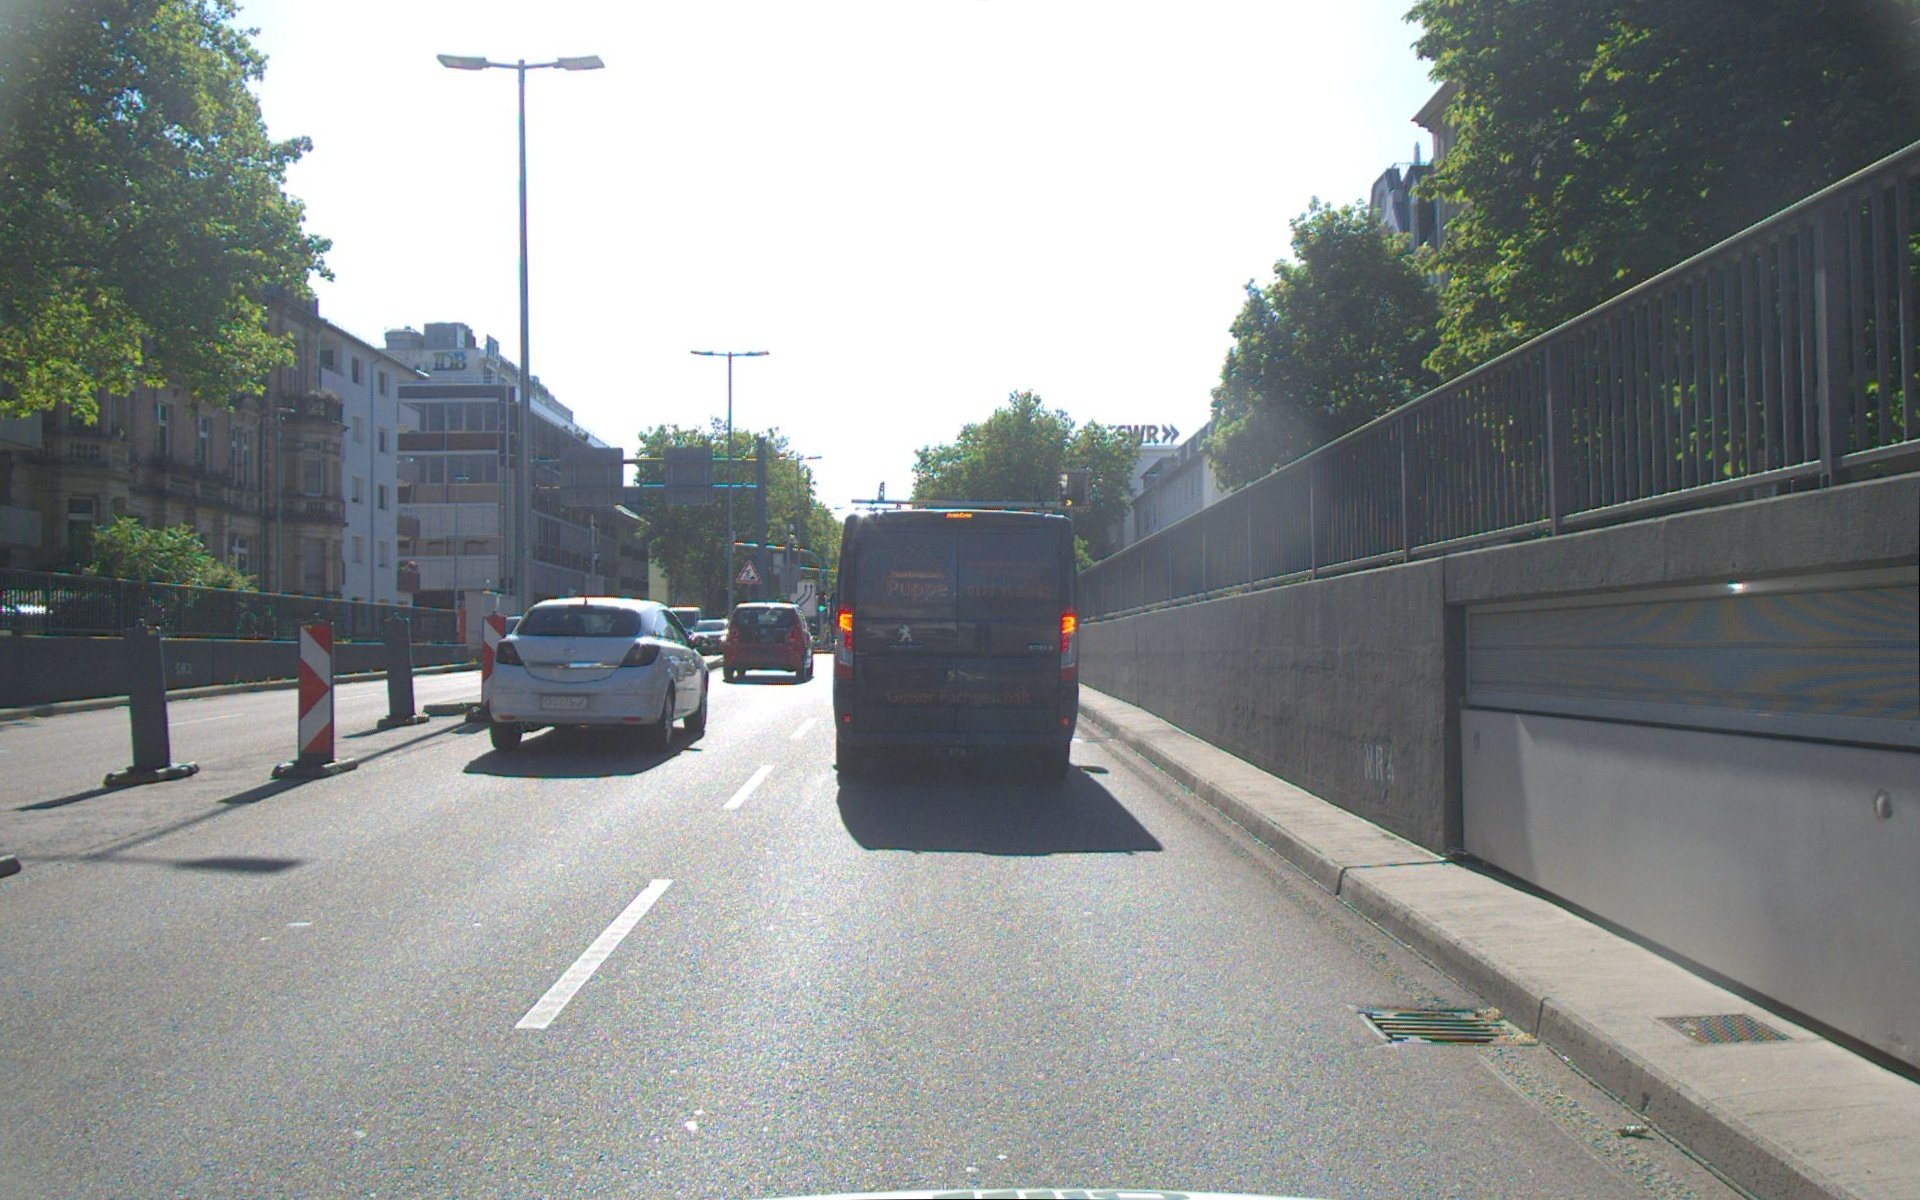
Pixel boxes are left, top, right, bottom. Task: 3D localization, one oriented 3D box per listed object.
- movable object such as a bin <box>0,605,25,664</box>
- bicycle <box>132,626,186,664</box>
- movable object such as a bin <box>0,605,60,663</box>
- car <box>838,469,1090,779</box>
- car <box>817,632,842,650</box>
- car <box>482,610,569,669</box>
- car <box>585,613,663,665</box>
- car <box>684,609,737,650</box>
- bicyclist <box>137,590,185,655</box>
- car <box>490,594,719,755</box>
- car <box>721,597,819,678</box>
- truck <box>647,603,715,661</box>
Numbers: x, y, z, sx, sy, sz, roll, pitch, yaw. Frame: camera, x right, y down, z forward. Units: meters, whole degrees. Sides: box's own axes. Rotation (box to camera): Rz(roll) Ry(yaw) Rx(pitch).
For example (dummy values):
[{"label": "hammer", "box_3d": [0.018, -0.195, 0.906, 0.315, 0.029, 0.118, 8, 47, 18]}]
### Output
[{"label": "movable object such as a bin", "box_3d": [-23.803, 0.835, 40.323, 1.253, 1.427, 1.301, 1, -1, -1]}, {"label": "bicycle", "box_3d": [-20.808, 1.159, 42.999, 0.643, 0.943, 1.756, 1, -1, -5]}, {"label": "movable object such as a bin", "box_3d": [-23.696, 0.862, 41.696, 1.253, 1.427, 1.324, 1, -1, -1]}, {"label": "car", "box_3d": [-0.015, 0.227, 15.064, 1.989, 2.445, 3.971, 0, -1, -2]}, {"label": "car", "box_3d": [-11.515, 3.614, 146.094, 1.897, 1.582, 3.922, 1, -1, -1]}, {"label": "car", "box_3d": [-12.075, 1.069, 46.130, 1.508, 1.490, 3.716, -3, 0, -2]}, {"label": "car", "box_3d": [-9.592, 1.092, 47.446, 1.508, 1.322, 3.926, -3, 0, -2]}, {"label": "car", "box_3d": [-9.752, 1.139, 64.961, 1.577, 1.483, 3.606, -4, -1, -2]}, {"label": "bicyclist", "box_3d": [-20.805, 0.594, 43.065, 0.759, 1.662, 1.022, 1, -1, -5]}, {"label": "car", "box_3d": [-3.487, 0.673, 16.854, 1.586, 1.428, 3.850, 1, 0, -2]}, {"label": "car", "box_3d": [-3.733, 0.703, 33.009, 1.655, 1.509, 3.317, 1, 0, -2]}, {"label": "truck", "box_3d": [-13.228, 1.519, 78.786, 2.183, 2.572, 6.127, -2, -1, -1]}]
